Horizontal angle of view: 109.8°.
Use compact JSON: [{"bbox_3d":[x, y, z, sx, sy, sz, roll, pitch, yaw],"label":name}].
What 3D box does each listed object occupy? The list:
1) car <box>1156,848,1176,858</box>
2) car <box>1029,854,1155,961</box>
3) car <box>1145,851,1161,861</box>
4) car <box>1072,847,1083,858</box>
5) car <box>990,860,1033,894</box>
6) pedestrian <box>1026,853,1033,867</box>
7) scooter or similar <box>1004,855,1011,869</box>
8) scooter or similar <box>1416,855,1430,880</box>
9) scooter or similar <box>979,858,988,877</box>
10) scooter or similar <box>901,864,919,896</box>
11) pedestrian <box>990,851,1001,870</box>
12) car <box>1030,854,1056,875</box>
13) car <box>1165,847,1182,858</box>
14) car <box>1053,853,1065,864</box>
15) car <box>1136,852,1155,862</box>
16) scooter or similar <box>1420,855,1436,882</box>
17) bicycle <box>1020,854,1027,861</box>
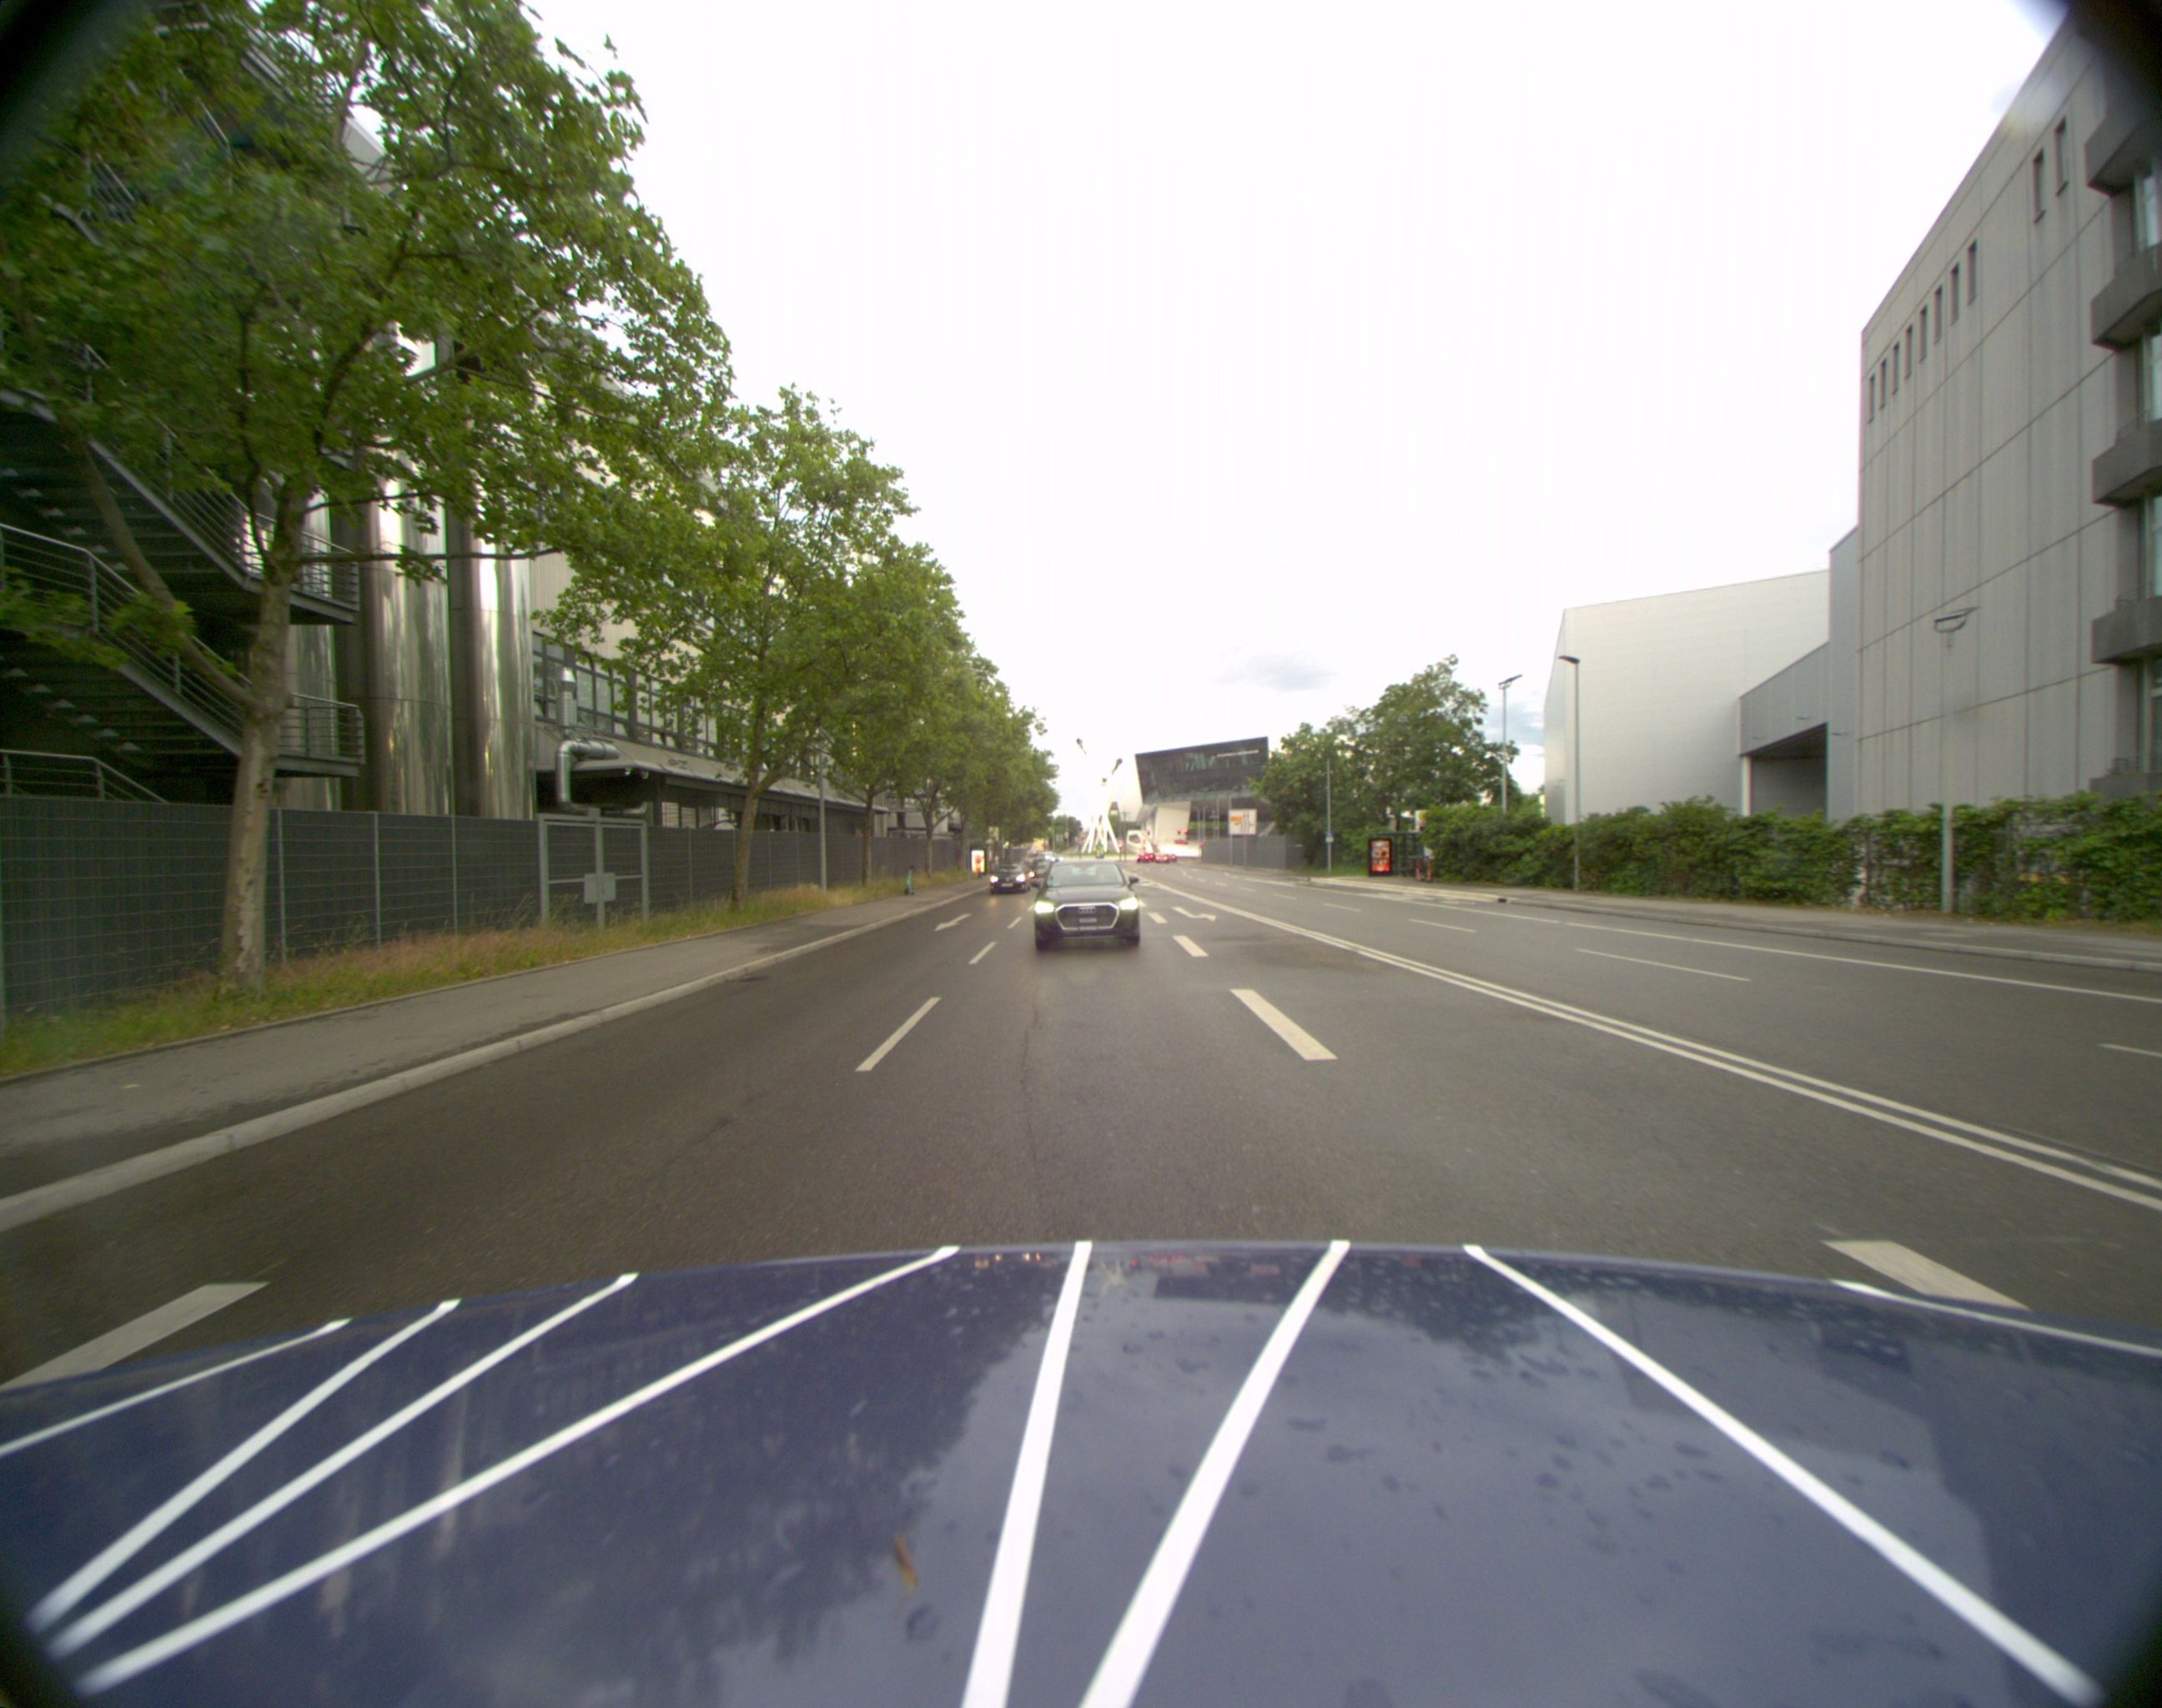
[{"bbox_3d":[13.377,-0.099,119.108,2.267,1.469,4.052,-1,1,18],"label":"car"},{"bbox_3d":[0.119,0.848,14.732,1.951,1.609,5.276,-2,0,-1],"label":"car"},{"bbox_3d":[11.999,0.342,126.003,1.878,1.641,3.857,-1,0,16],"label":"car"},{"bbox_3d":[-0.670,-0.253,136.417,1.951,1.879,4.490,0,0,-1],"label":"car"},{"bbox_3d":[-3.234,1.034,36.208,1.881,1.485,4.075,0,0,-3],"label":"car"},{"bbox_3d":[-6.384,0.733,94.528,0.723,1.610,0.833,1,1,-1],"label":"pedestrian"},{"bbox_3d":[-6.979,0.773,72.008,0.437,1.288,1.300,-1,1,3],"label":"scooter or similar"},{"bbox_3d":[16.489,0.636,36.686,0.389,1.173,1.251,-1,1,14],"label":"scooter or similar"},{"bbox_3d":[-6.875,0.935,53.458,0.329,1.301,1.246,-1,1,5],"label":"scooter or similar"},{"bbox_3d":[-6.924,1.052,30.785,0.329,1.262,1.109,-1,1,9],"label":"scooter or similar"},{"bbox_3d":[-7.448,0.563,66.242,0.778,1.700,0.729,-1,1,0],"label":"pedestrian"},{"bbox_3d":[-2.914,0.802,58.949,1.842,1.444,4.785,-2,0,-1],"label":"car"},{"bbox_3d":[15.334,-0.247,125.829,1.862,1.641,3.792,-1,0,19],"label":"car"},{"bbox_3d":[-3.388,0.651,117.722,1.951,1.610,4.072,0,0,-1],"label":"car"},{"bbox_3d":[10.306,0.484,121.031,2.255,1.469,3.884,-1,1,18],"label":"car"},{"bbox_3d":[16.131,0.670,35.340,0.379,1.174,1.379,-1,1,14],"label":"scooter or similar"},{"bbox_3d":[-8.054,0.497,106.402,0.727,0.870,1.904,-2,1,-1],"label":"bicycle"}]
